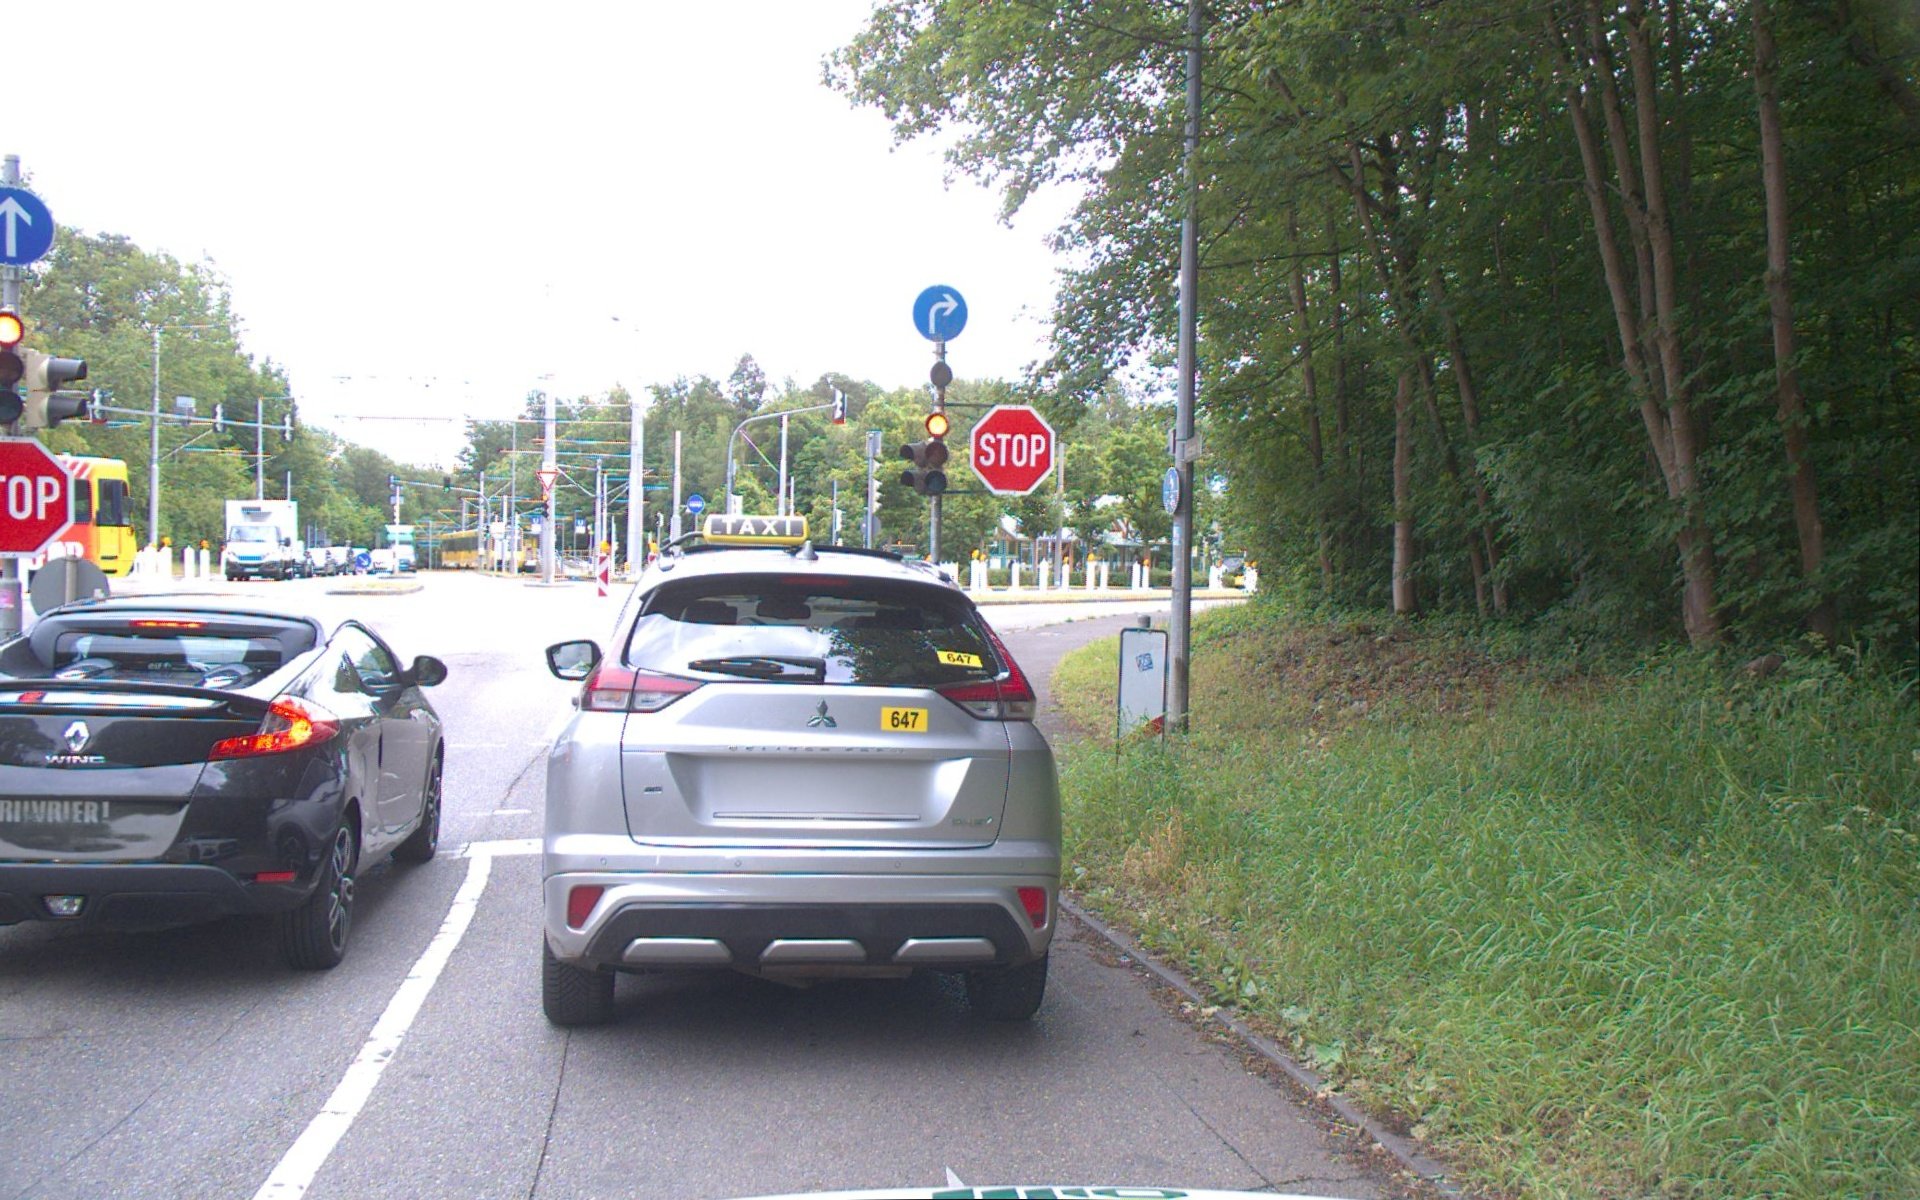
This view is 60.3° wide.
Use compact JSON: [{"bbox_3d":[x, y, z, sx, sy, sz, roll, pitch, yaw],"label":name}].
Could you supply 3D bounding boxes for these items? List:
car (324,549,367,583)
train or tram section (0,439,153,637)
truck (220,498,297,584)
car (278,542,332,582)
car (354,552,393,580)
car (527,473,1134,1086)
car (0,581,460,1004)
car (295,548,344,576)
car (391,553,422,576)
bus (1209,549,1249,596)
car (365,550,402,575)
[{"bbox_3d":[-34.971,-1.966,94.192,1.930,1.877,4.670,1,1,-16],"label":"car"},{"bbox_3d":[-26.031,-1.543,35.557,2.886,4.732,18.545,1,0,21],"label":"train or tram section"},{"bbox_3d":[-28.207,-2.339,66.686,2.412,3.280,7.115,0,1,-20],"label":"truck"},{"bbox_3d":[-31.003,-1.805,78.389,1.930,1.780,4.825,1,1,-16],"label":"car"},{"bbox_3d":[-35.674,-2.096,100.674,1.930,1.635,4.292,1,1,-16],"label":"car"},{"bbox_3d":[-0.651,0.517,6.800,1.741,1.778,3.773,2,1,-9],"label":"car"},{"bbox_3d":[-3.305,0.626,7.304,1.742,1.385,3.467,0,1,-11],"label":"car"},{"bbox_3d":[-33.385,-1.979,86.334,1.930,1.385,4.670,1,1,-16],"label":"car"},{"bbox_3d":[-39.955,-2.571,119.431,1.930,1.567,4.292,1,1,-16],"label":"car"},{"bbox_3d":[22.078,-2.322,136.386,2.761,3.665,12.815,1,2,7],"label":"bus"},{"bbox_3d":[-37.029,-2.441,106.318,1.930,1.568,4.378,1,1,-16],"label":"car"}]
